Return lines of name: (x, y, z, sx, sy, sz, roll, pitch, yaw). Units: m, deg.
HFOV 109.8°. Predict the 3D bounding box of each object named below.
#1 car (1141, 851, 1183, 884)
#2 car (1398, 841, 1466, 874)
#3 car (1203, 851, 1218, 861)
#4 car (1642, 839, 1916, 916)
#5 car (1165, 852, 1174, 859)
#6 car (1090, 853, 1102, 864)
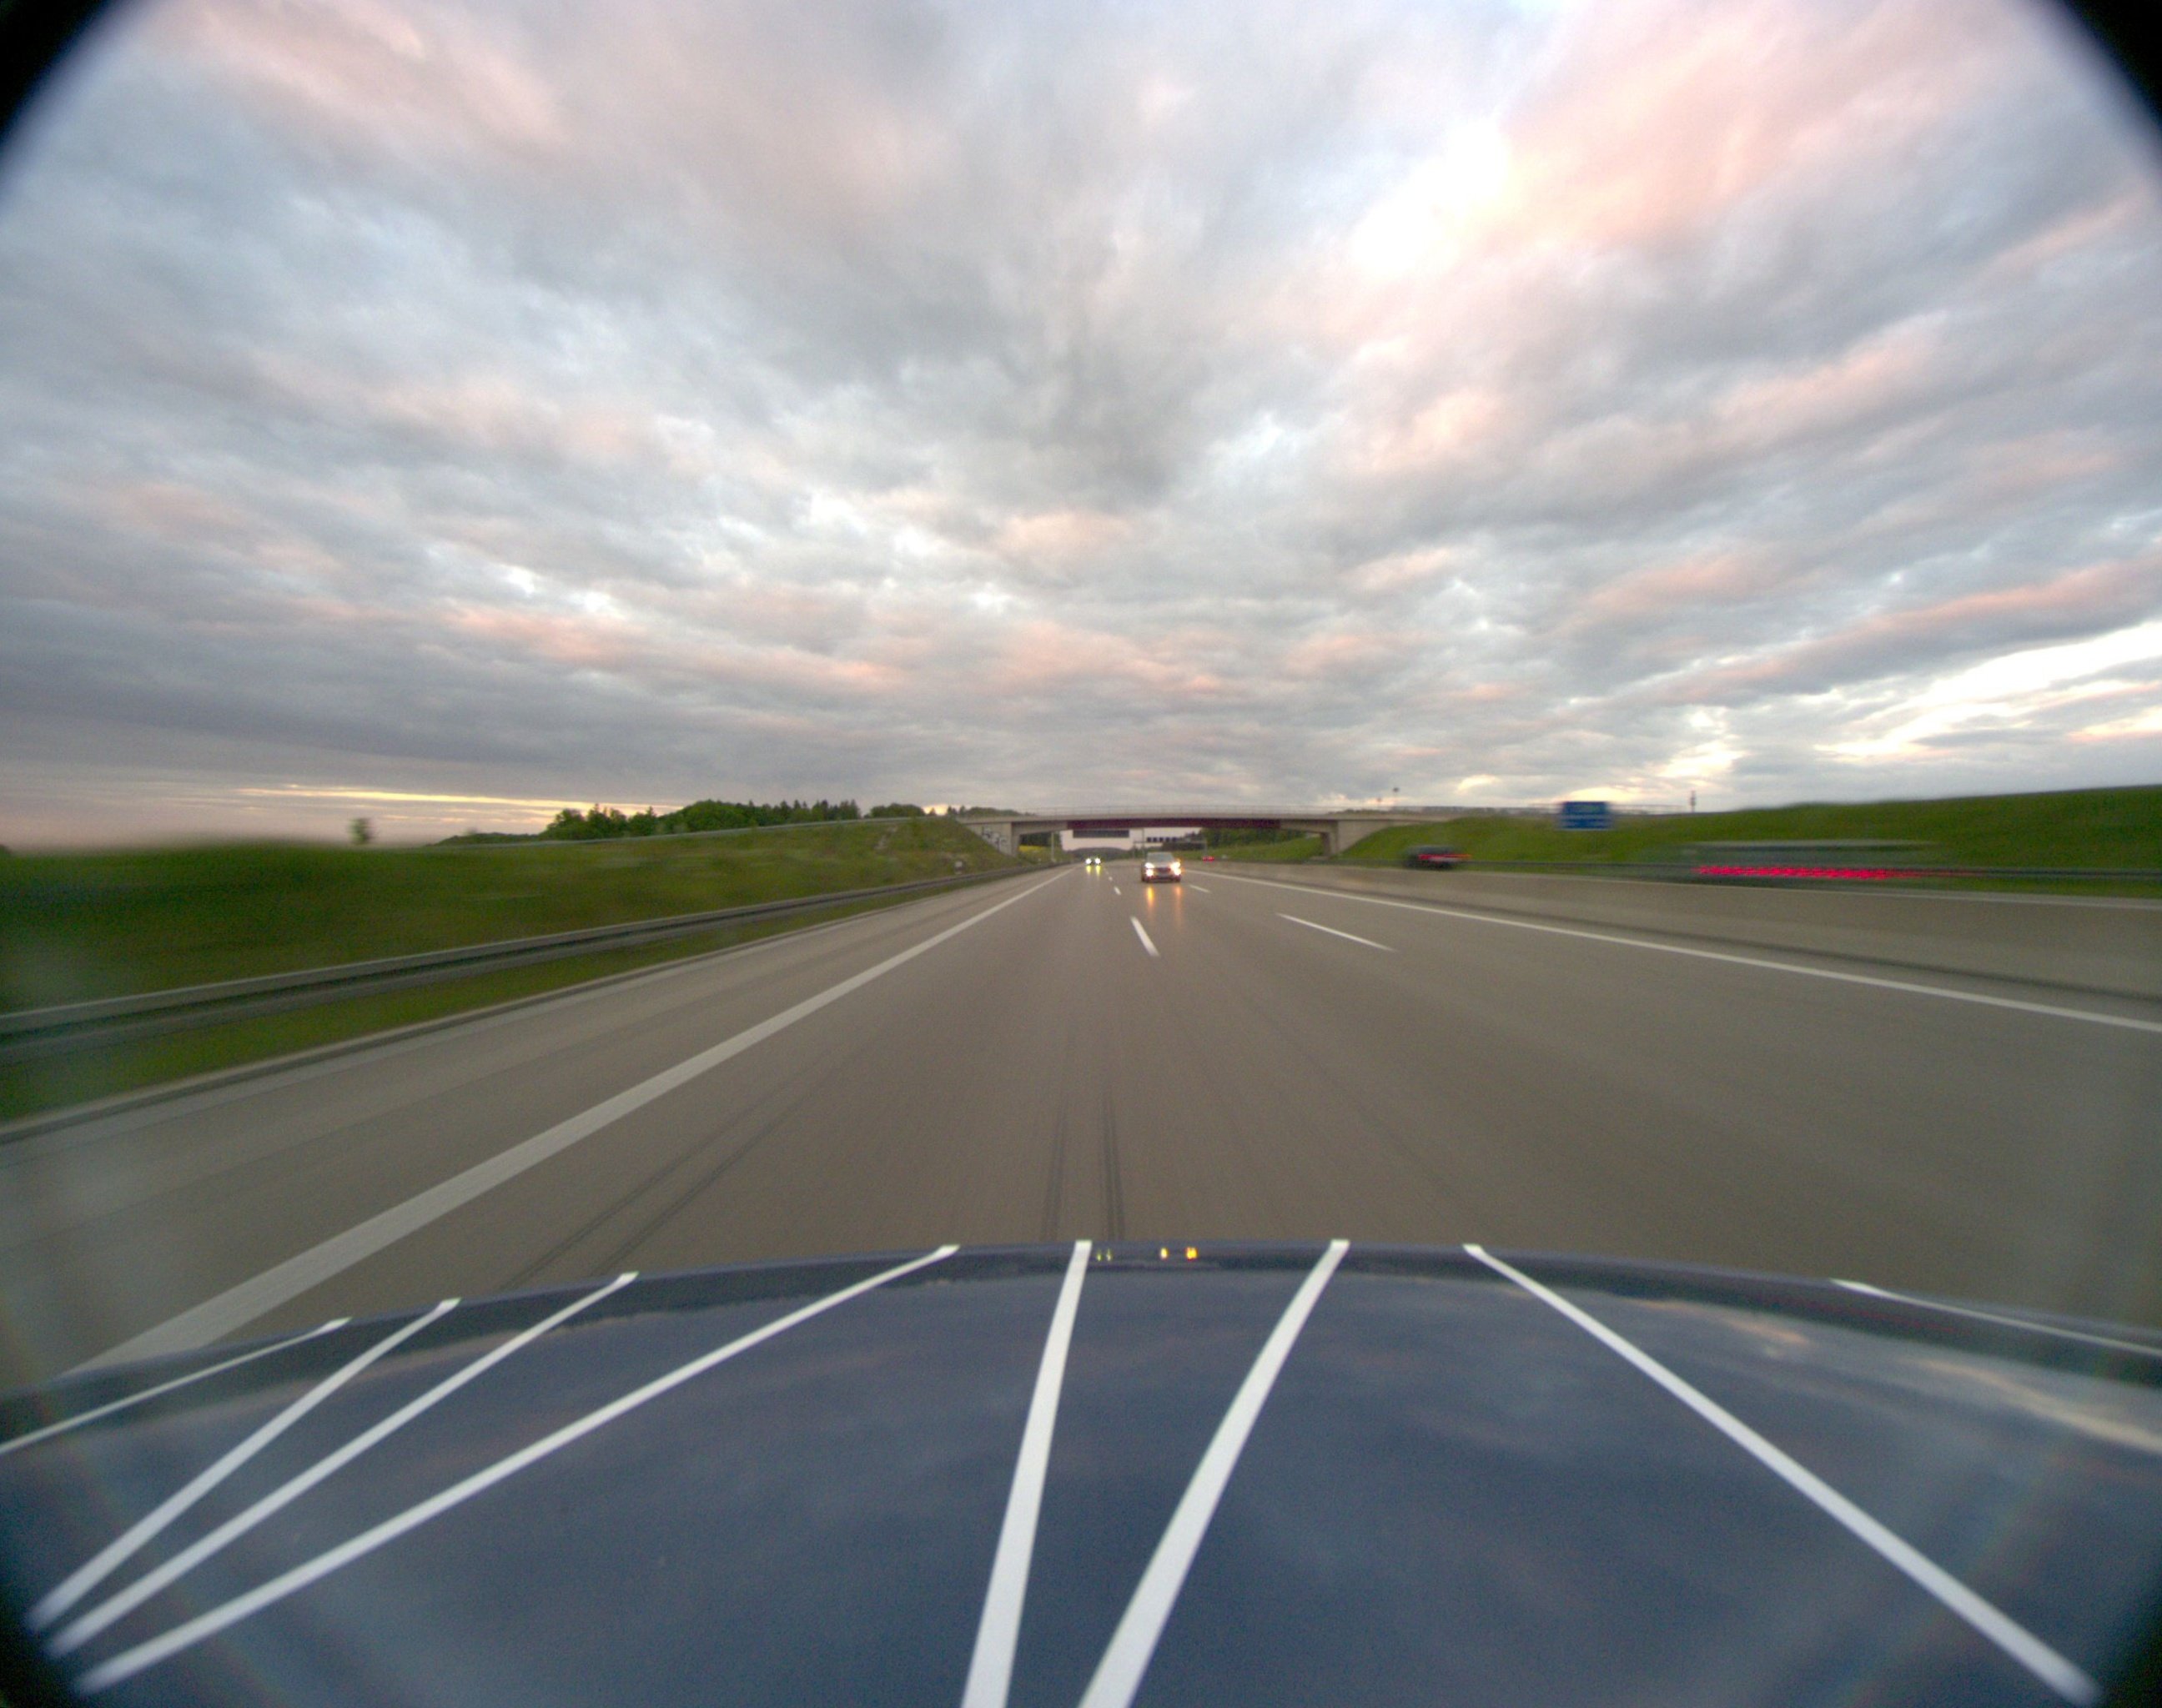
car: (4.425, 0.683, 42.350, 1.857, 1.683, 5.512, -1, 1, 1)
car: (22.404, 0.213, 48.754, 1.998, 1.925, 5.090, -2, 0, 1)
car: (22.078, 0.306, 129.467, 1.829, 1.653, 4.651, -2, 0, 1)
car: (14.852, 0.443, 16.628, 1.815, 1.427, 4.671, -1, 0, 2)
car: (23.194, 0.382, 199.926, 1.827, 1.924, 4.894, -3, 0, 0)
car: (2.428, 0.647, 123.414, 1.801, 1.674, 4.385, -1, 1, 1)
